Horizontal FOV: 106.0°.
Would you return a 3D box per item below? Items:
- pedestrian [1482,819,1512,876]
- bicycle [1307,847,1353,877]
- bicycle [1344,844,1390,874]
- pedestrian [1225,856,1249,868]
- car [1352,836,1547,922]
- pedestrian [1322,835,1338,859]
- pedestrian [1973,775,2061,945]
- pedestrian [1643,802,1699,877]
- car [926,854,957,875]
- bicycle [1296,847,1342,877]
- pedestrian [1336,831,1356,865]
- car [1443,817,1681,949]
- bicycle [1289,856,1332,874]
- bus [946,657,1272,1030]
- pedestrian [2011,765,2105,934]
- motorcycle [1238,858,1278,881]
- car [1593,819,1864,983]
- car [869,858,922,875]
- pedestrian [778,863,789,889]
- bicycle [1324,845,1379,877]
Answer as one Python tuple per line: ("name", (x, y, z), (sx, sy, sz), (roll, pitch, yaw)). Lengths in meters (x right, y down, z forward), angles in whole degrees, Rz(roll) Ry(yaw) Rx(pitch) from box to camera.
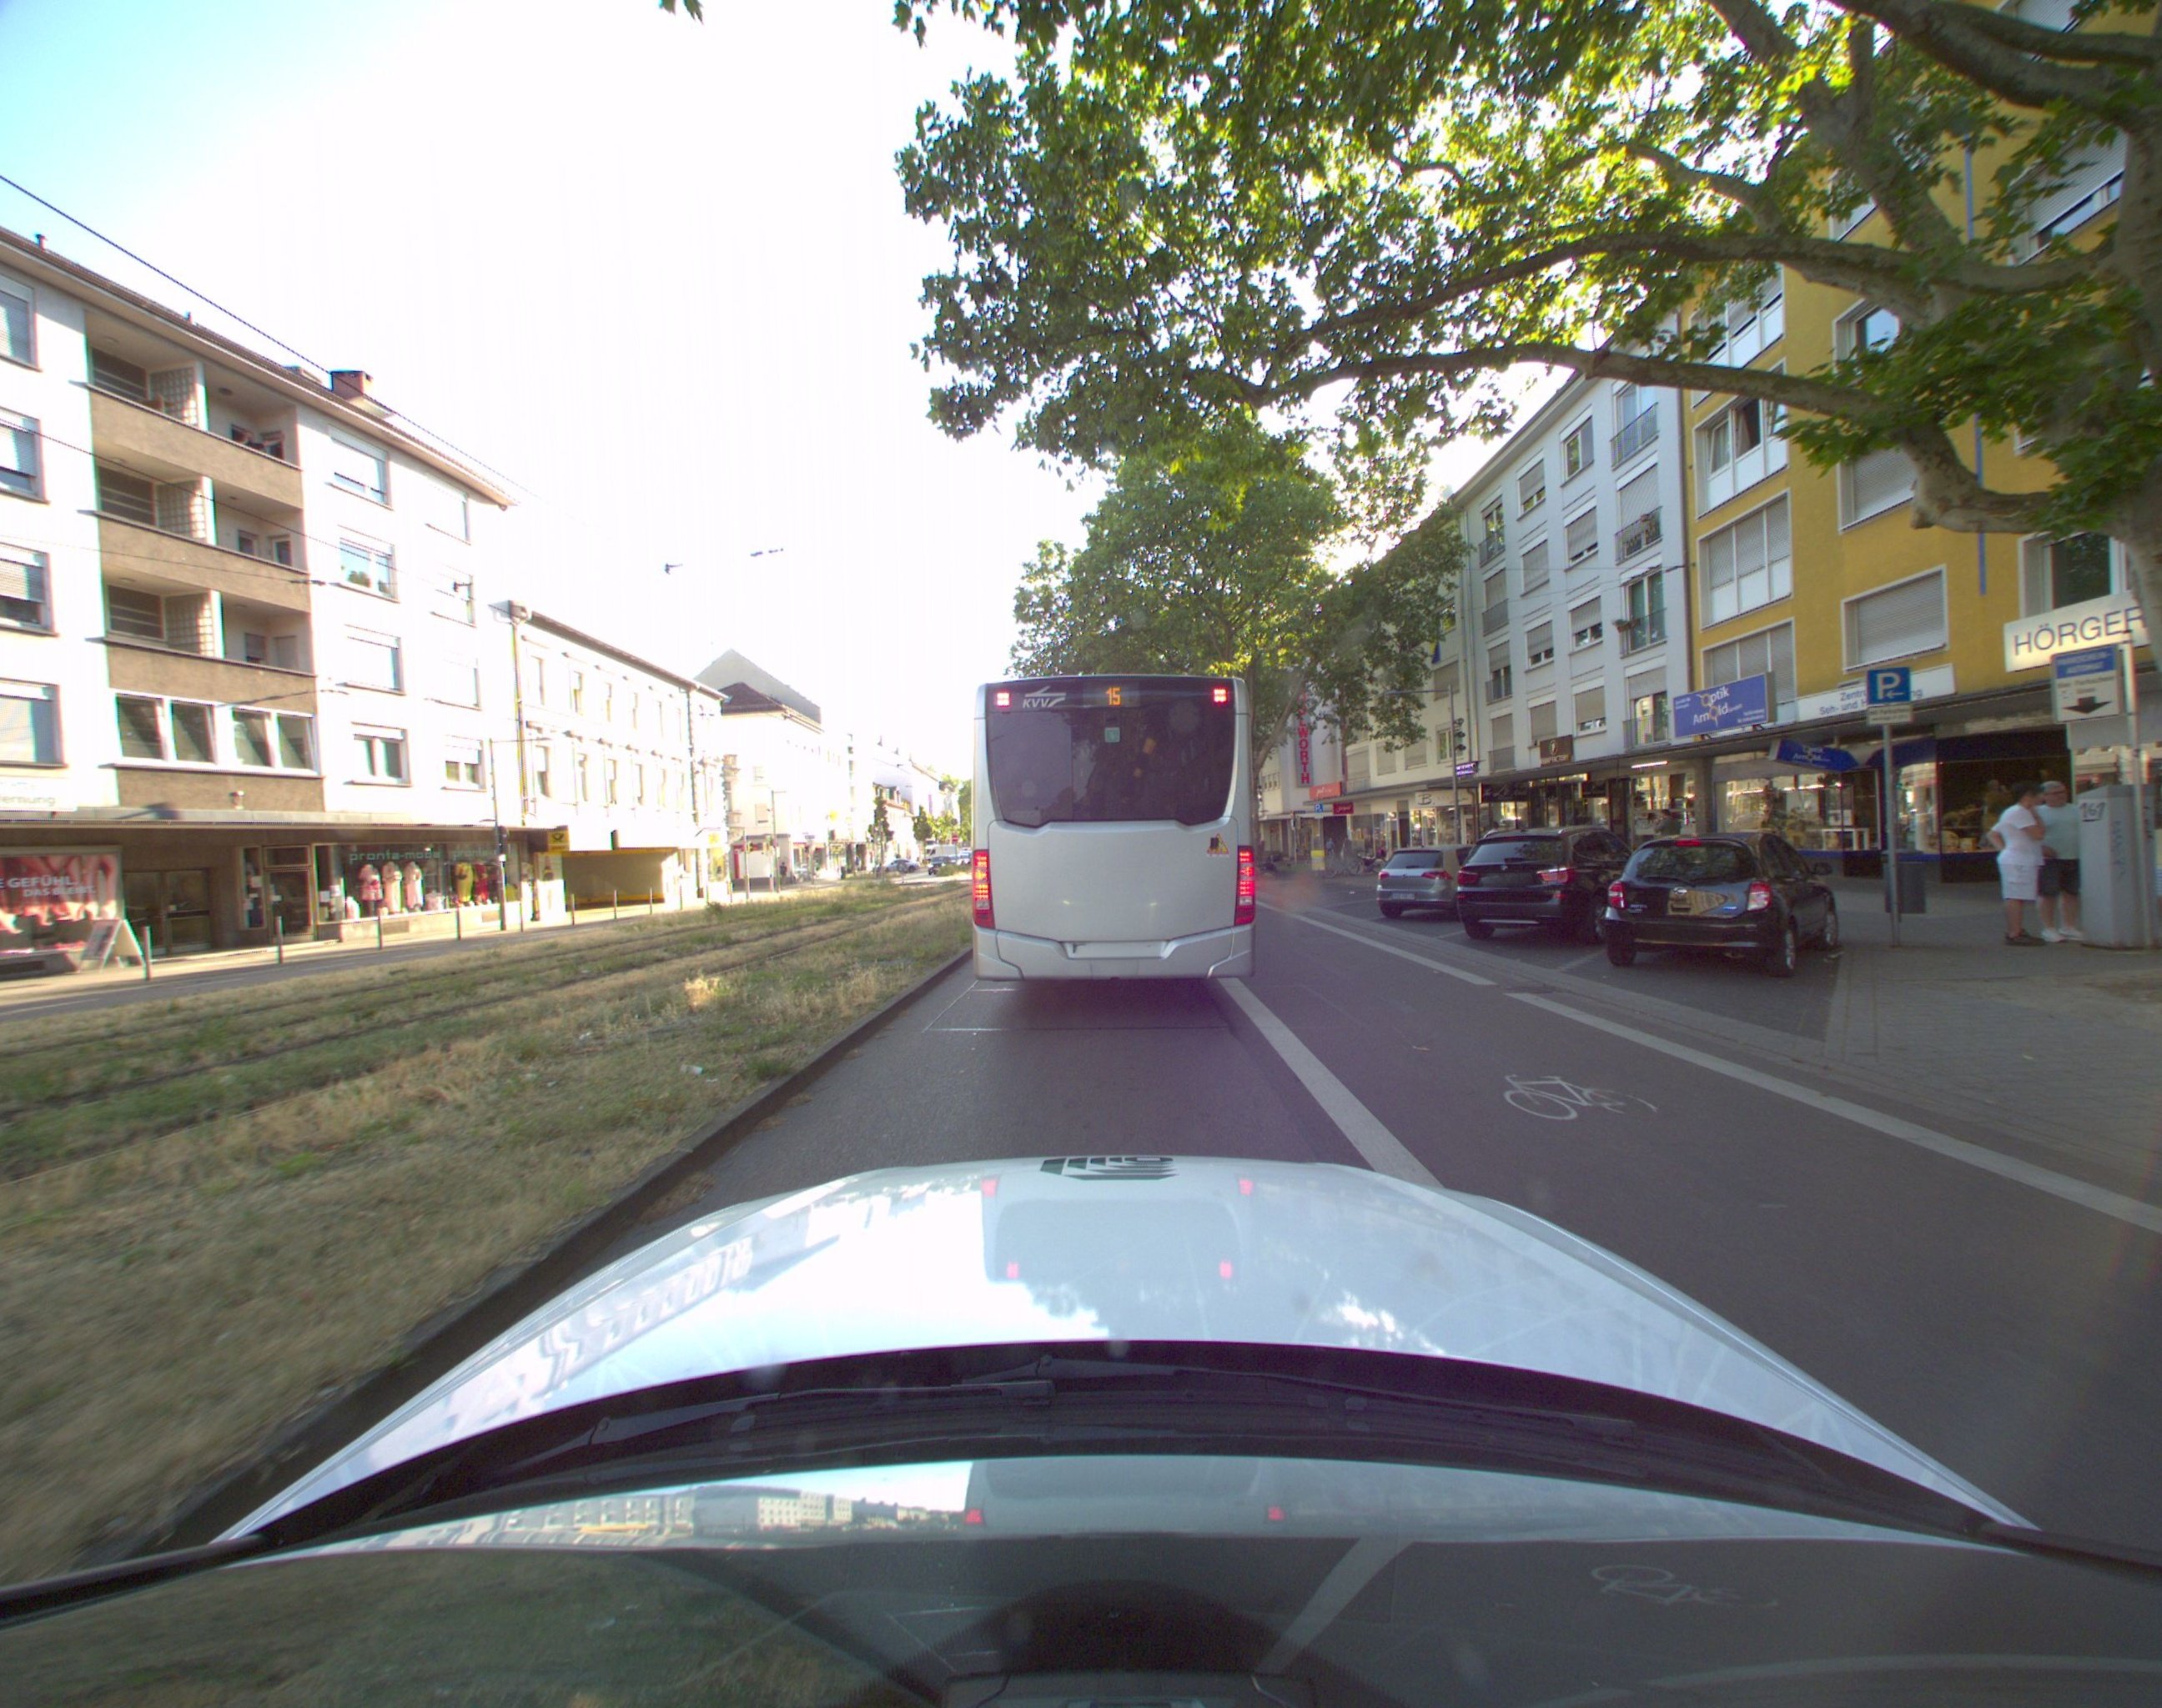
("pedestrian", (14.131, -0.209, 27.682), (0.638, 1.876, 0.827), (-3, 0, 12))
("bicycle", (11.254, 0.360, 36.770), (1.783, 1.189, 0.671), (-6, 0, -7))
("bicycle", (12.512, 0.211, 35.656), (1.753, 1.154, 0.680), (-4, 0, 10))
("pedestrian", (8.743, 0.433, 45.561), (1.250, 0.589, 0.482), (-2, 0, 0))
("car", (7.677, 0.457, 16.828), (4.196, 1.451, 1.790), (-3, 0, -36))
("pedestrian", (17.499, -0.489, 57.250), (0.746, 1.679, 0.834), (-3, 2, -4))
("pedestrian", (10.449, 0.059, 9.095), (0.518, 1.832, 0.471), (-3, 0, -26))
("pedestrian", (14.767, -0.365, 20.388), (0.703, 1.791, 0.789), (-6, 0, 8))
("car", (-11.739, 0.866, 68.689), (1.715, 1.509, 3.479), (-5, 0, 3))
("bicycle", (11.023, 0.357, 37.787), (1.864, 1.189, 0.713), (-6, 0, 10))
("pedestrian", (14.295, -0.337, 43.882), (0.777, 1.794, 0.764), (-3, 0, 2))
("car", (7.594, 0.349, 12.716), (4.172, 1.681, 1.789), (-3, 0, -39))
("bicycle", (10.900, 0.517, 38.742), (1.864, 0.765, 0.714), (-3, 2, 10))
("bus", (0.423, -0.122, 10.434), (2.667, 3.083, 7.120), (-2, 1, 3))
("pedestrian", (10.980, -0.054, 9.161), (0.517, 1.832, 0.472), (-3, 0, -20))
("motorcycle", (7.551, 0.649, 34.739), (1.565, 0.892, 0.544), (-3, 0, -1))
("car", (7.782, 0.428, 9.696), (3.626, 1.540, 1.722), (-3, 0, -39))
("car", (-18.133, 1.247, 79.678), (4.571, 1.412, 1.979), (-3, 0, -35))
("pedestrian", (-20.491, 1.507, 56.044), (0.423, 1.713, 0.509), (-3, 0, 6))
("bicycle", (11.672, 0.288, 35.242), (2.069, 1.233, 0.833), (-4, 0, 6))
